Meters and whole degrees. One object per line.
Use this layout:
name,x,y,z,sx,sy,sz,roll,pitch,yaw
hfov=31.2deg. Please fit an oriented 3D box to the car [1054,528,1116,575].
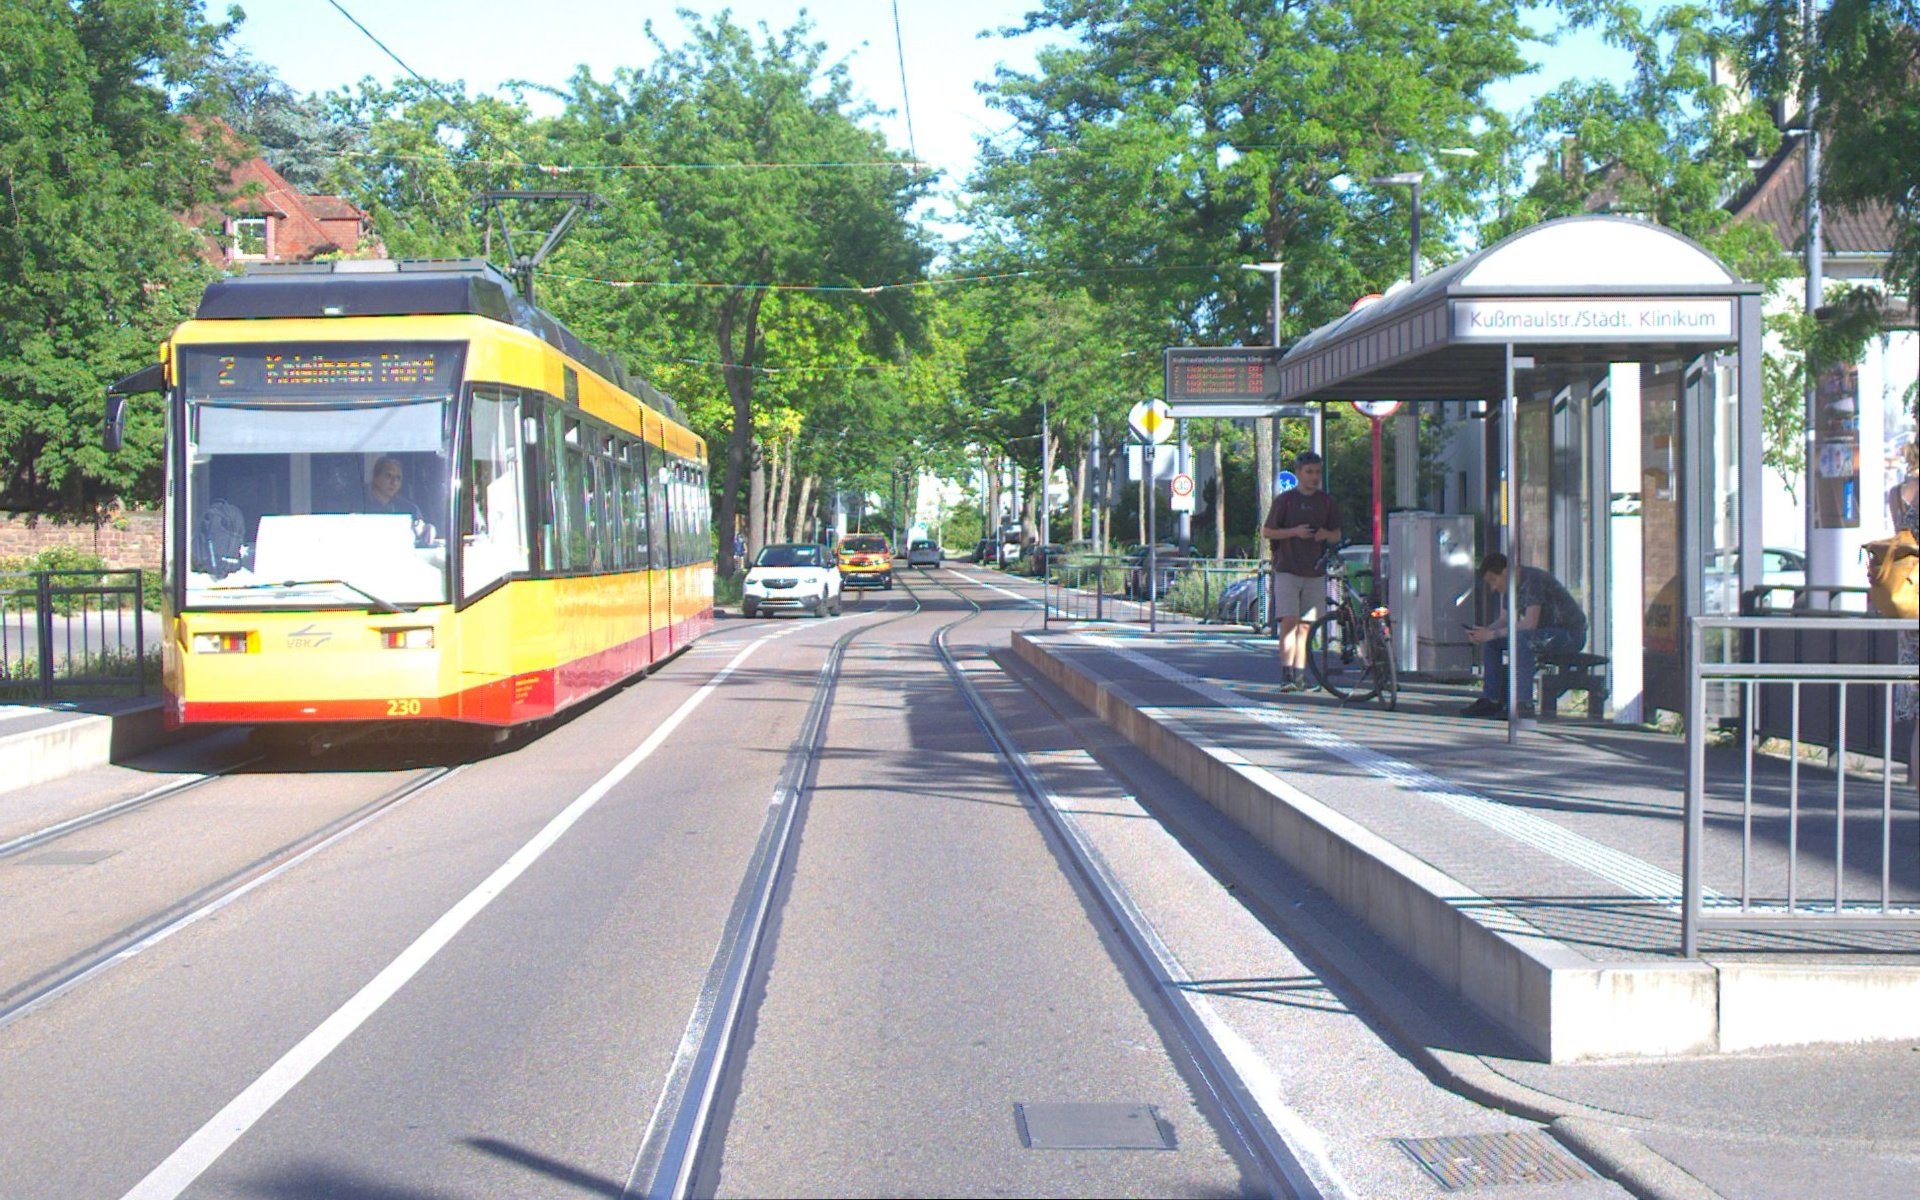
car,4.853,-1.891,134.312,1.993,1.698,4.478,-3,1,-2

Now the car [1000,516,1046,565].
car,3.496,-3.325,191.687,2.245,2.645,5.586,0,1,-2

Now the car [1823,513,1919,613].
car,16.694,-0.619,57.132,4.162,1.636,1.982,0,1,-3

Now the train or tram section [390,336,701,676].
train or tram section,-4.475,-1.023,38.349,2.803,3.448,6.669,0,1,-1

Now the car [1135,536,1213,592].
car,5.923,-1.016,95.703,1.748,1.490,4.444,-1,1,-1

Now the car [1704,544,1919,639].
car,14.204,-0.120,54.640,4.606,1.461,1.981,0,-1,13

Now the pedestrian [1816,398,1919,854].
pedestrian,3.736,0.096,13.189,0.671,1.698,0.691,1,1,-2

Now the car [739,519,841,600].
car,-3.602,-0.875,73.468,1.765,1.658,4.210,-1,1,3

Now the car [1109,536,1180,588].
car,5.451,-1.147,101.864,1.748,1.490,3.997,-1,1,-1

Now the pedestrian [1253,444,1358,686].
pedestrian,2.686,-0.272,26.804,0.711,1.847,0.729,1,1,0

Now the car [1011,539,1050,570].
car,3.484,-2.256,170.369,1.627,1.393,3.646,-3,1,-2

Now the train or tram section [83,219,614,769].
train or tram section,-4.180,-0.733,24.971,2.803,3.448,6.669,0,1,-1

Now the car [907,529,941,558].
car,-2.081,-3.303,200.217,1.866,1.669,4.173,-1,1,-2

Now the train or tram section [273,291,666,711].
train or tram section,-4.328,-0.882,31.654,2.803,3.448,6.669,0,1,-1

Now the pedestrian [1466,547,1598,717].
pedestrian,3.856,0.207,23.203,0.738,1.113,0.658,1,1,-2

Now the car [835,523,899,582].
car,-3.208,-1.649,117.698,1.993,1.959,4.935,0,1,-4

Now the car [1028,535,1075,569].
car,4.270,-2.238,160.518,1.784,1.443,4.302,-3,1,-3

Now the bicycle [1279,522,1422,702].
bicycle,2.762,0.066,24.482,0.619,1.225,1.967,0,1,-5

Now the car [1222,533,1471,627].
car,6.389,-0.347,56.592,3.988,1.503,1.981,0,1,9

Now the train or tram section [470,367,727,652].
train or tram section,-4.603,-1.165,45.021,2.803,3.448,6.669,0,1,-1

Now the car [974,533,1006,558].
car,2.100,-3.812,241.329,2.003,1.669,4.392,-2,1,3

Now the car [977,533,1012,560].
car,2.242,-3.509,223.871,2.003,1.669,4.393,-2,1,-2
